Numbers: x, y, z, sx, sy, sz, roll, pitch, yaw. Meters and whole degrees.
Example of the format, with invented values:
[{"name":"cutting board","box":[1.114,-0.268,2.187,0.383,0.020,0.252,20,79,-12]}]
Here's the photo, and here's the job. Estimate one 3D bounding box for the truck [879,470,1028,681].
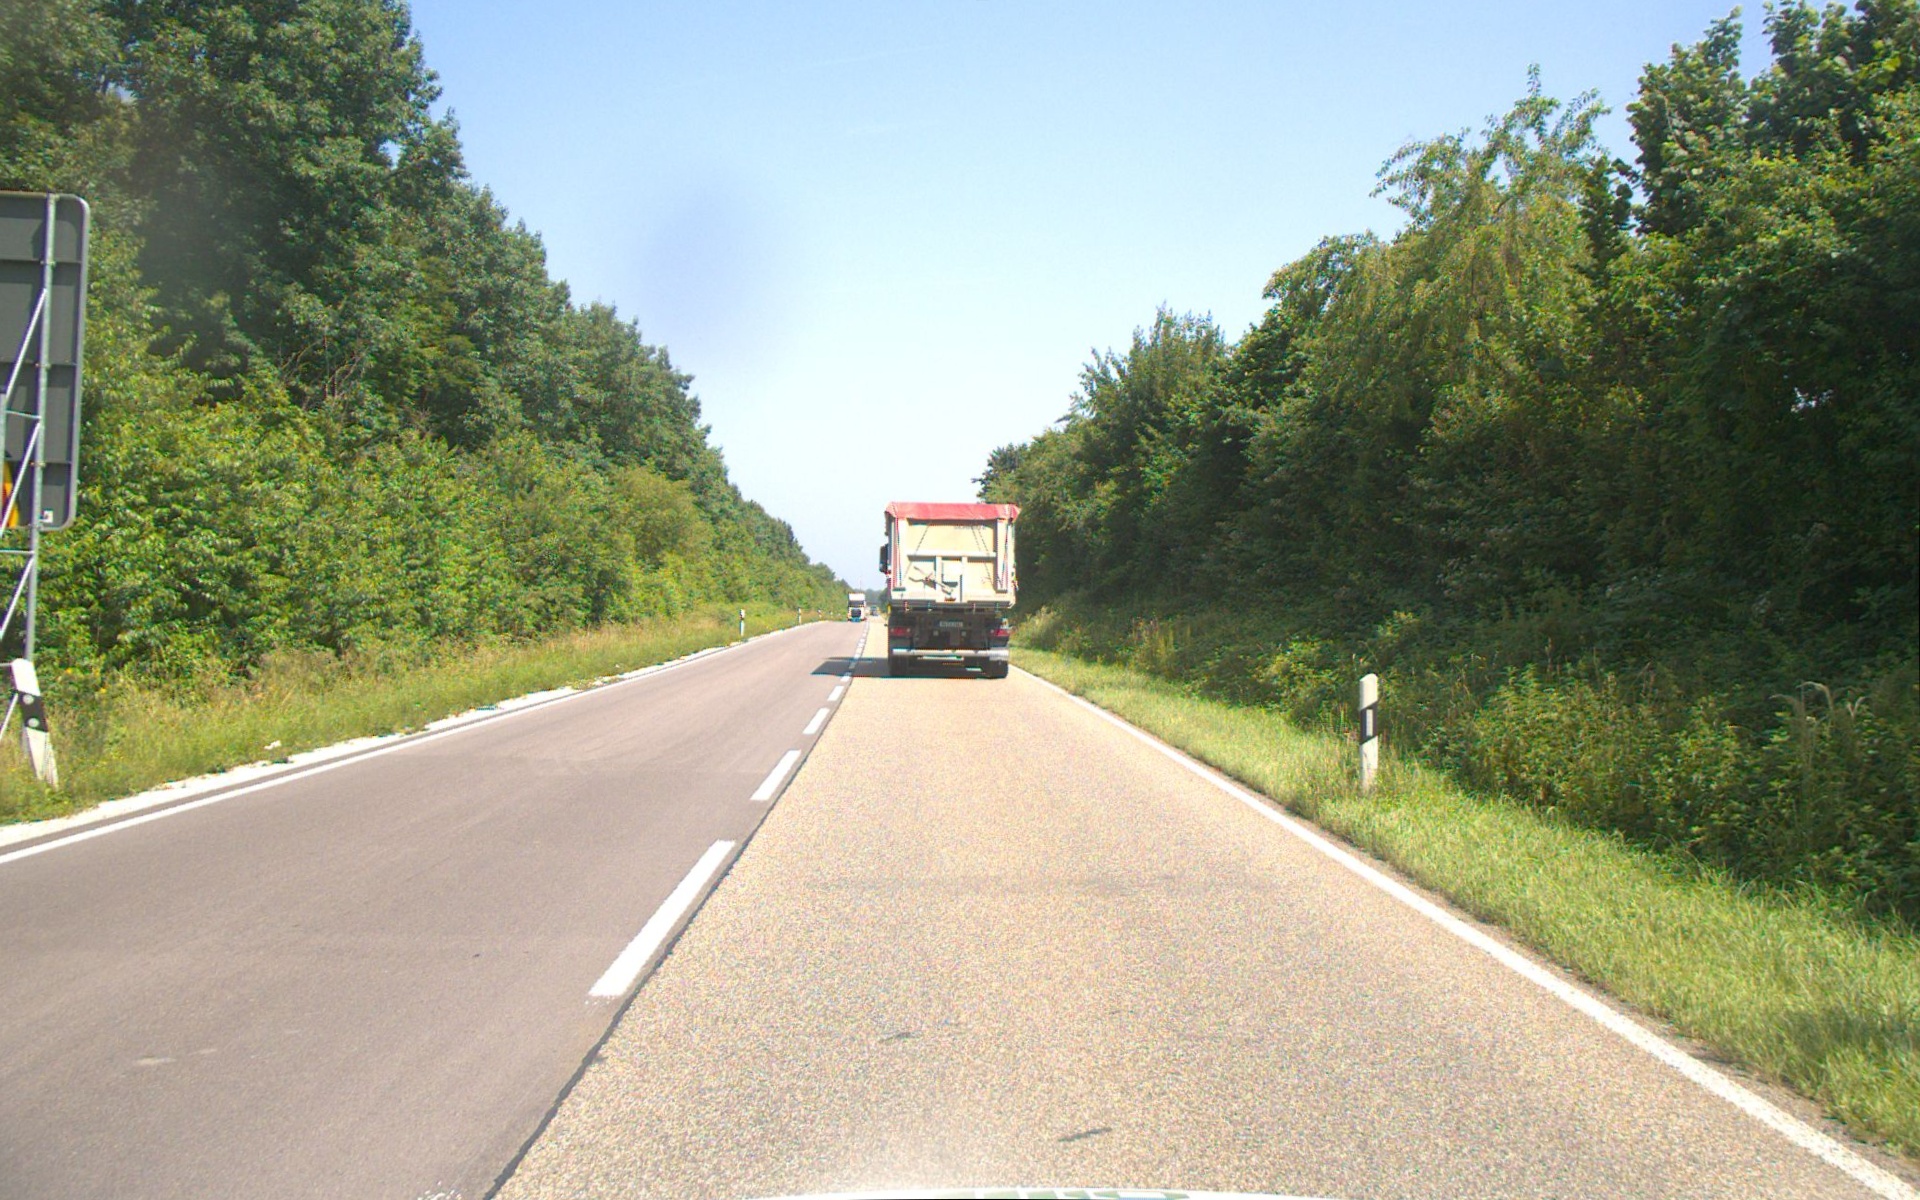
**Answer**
[{"name":"truck","box":[-0.389,-0.475,37.782,2.835,4.032,11.926,1,0,-3]}]
